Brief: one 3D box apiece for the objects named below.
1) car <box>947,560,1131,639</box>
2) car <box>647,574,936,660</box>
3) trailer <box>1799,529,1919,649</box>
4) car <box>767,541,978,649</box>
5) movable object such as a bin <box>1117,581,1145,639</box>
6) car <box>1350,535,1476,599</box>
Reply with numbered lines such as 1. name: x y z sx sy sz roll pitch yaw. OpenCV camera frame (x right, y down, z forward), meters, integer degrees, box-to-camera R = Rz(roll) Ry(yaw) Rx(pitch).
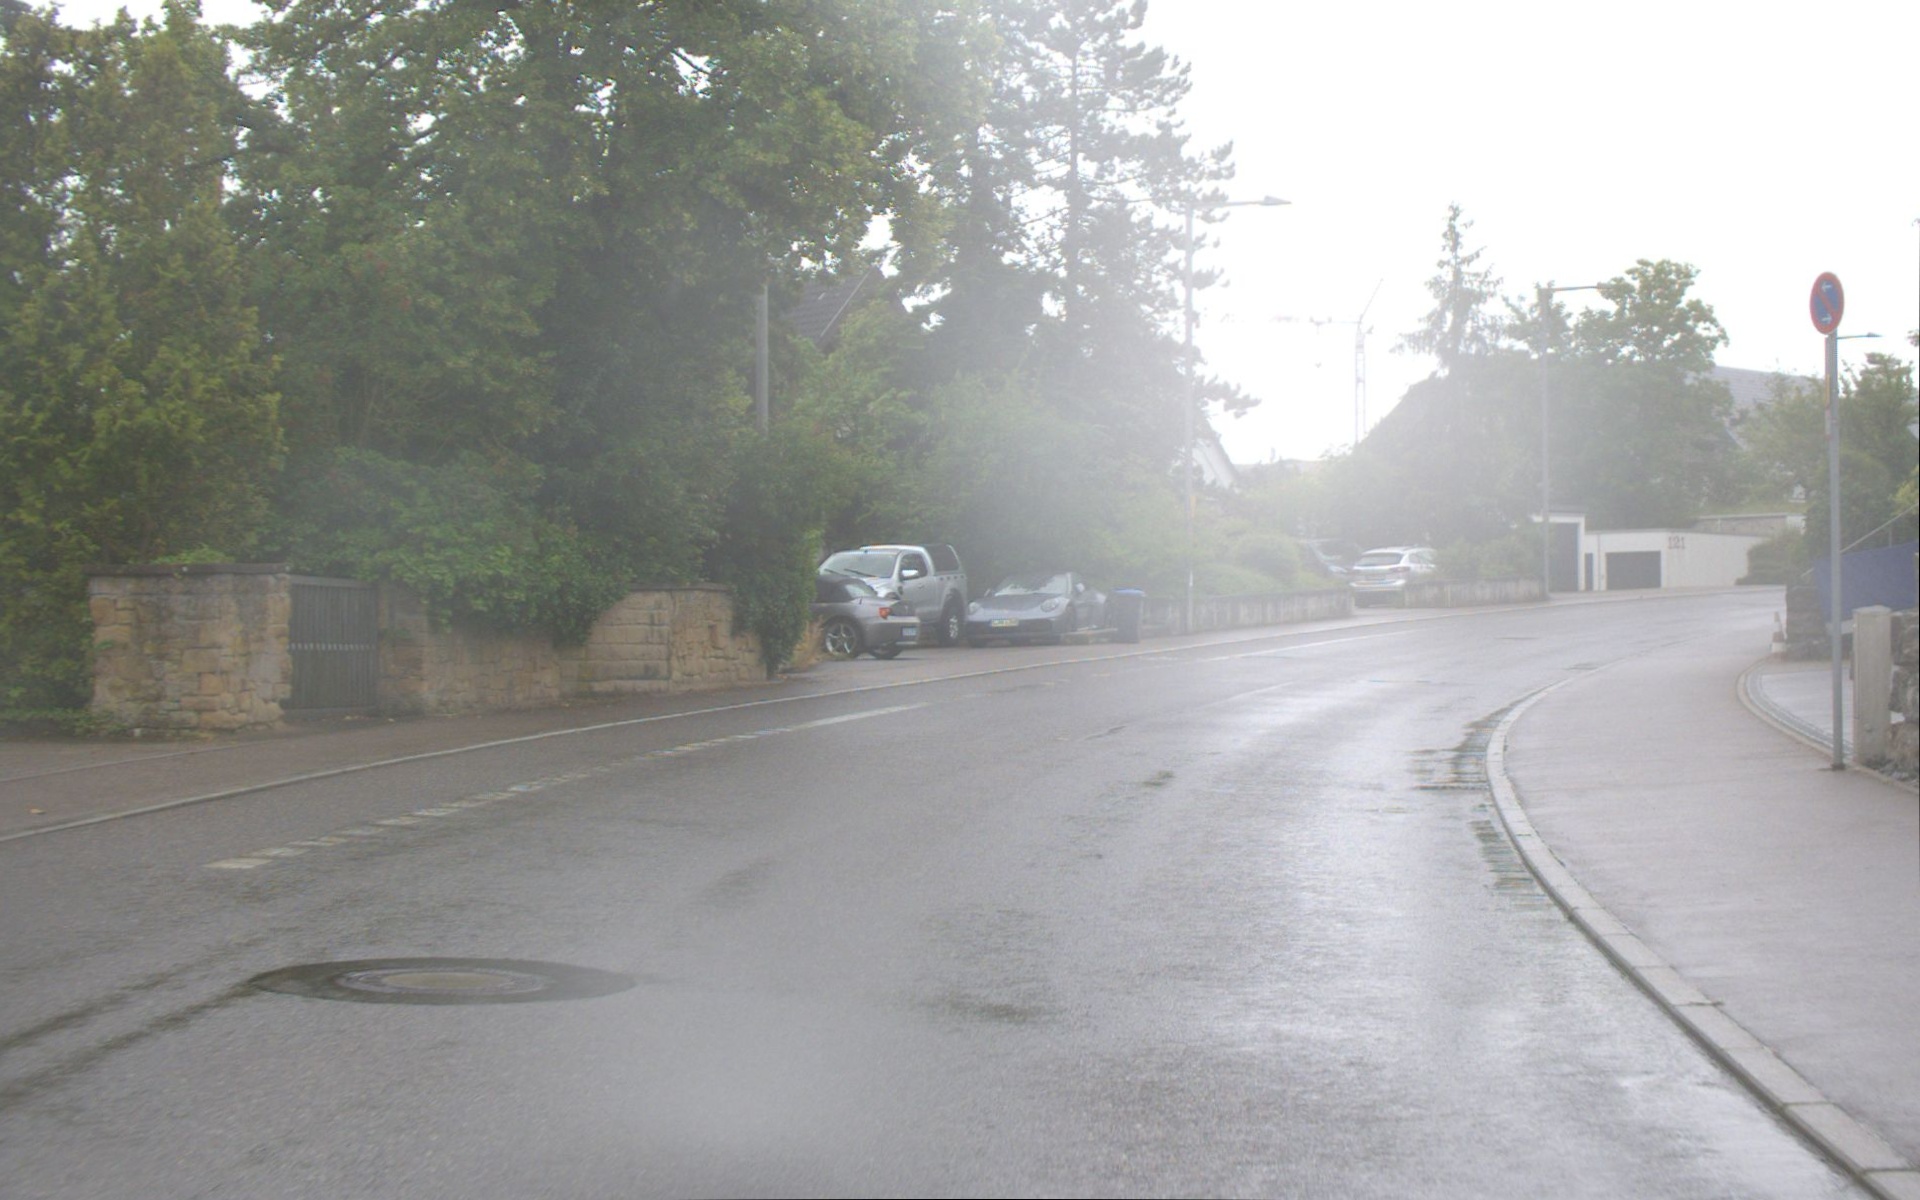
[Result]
1. car: 1.447 -0.028 60.860 1.995 1.303 4.429 -1 1 19
2. car: -2.567 0.244 52.445 3.991 1.267 1.871 0 1 22
3. trailer: 13.625 -0.169 50.743 2.355 1.742 1.999 0 1 15
4. car: -1.484 -0.131 61.131 1.995 1.837 5.473 0 1 19
5. movable object such as a bin: 2.969 0.167 59.699 0.370 0.985 0.558 -1 1 16
6. car: 11.593 -0.857 87.865 1.737 1.546 3.993 -1 1 31
